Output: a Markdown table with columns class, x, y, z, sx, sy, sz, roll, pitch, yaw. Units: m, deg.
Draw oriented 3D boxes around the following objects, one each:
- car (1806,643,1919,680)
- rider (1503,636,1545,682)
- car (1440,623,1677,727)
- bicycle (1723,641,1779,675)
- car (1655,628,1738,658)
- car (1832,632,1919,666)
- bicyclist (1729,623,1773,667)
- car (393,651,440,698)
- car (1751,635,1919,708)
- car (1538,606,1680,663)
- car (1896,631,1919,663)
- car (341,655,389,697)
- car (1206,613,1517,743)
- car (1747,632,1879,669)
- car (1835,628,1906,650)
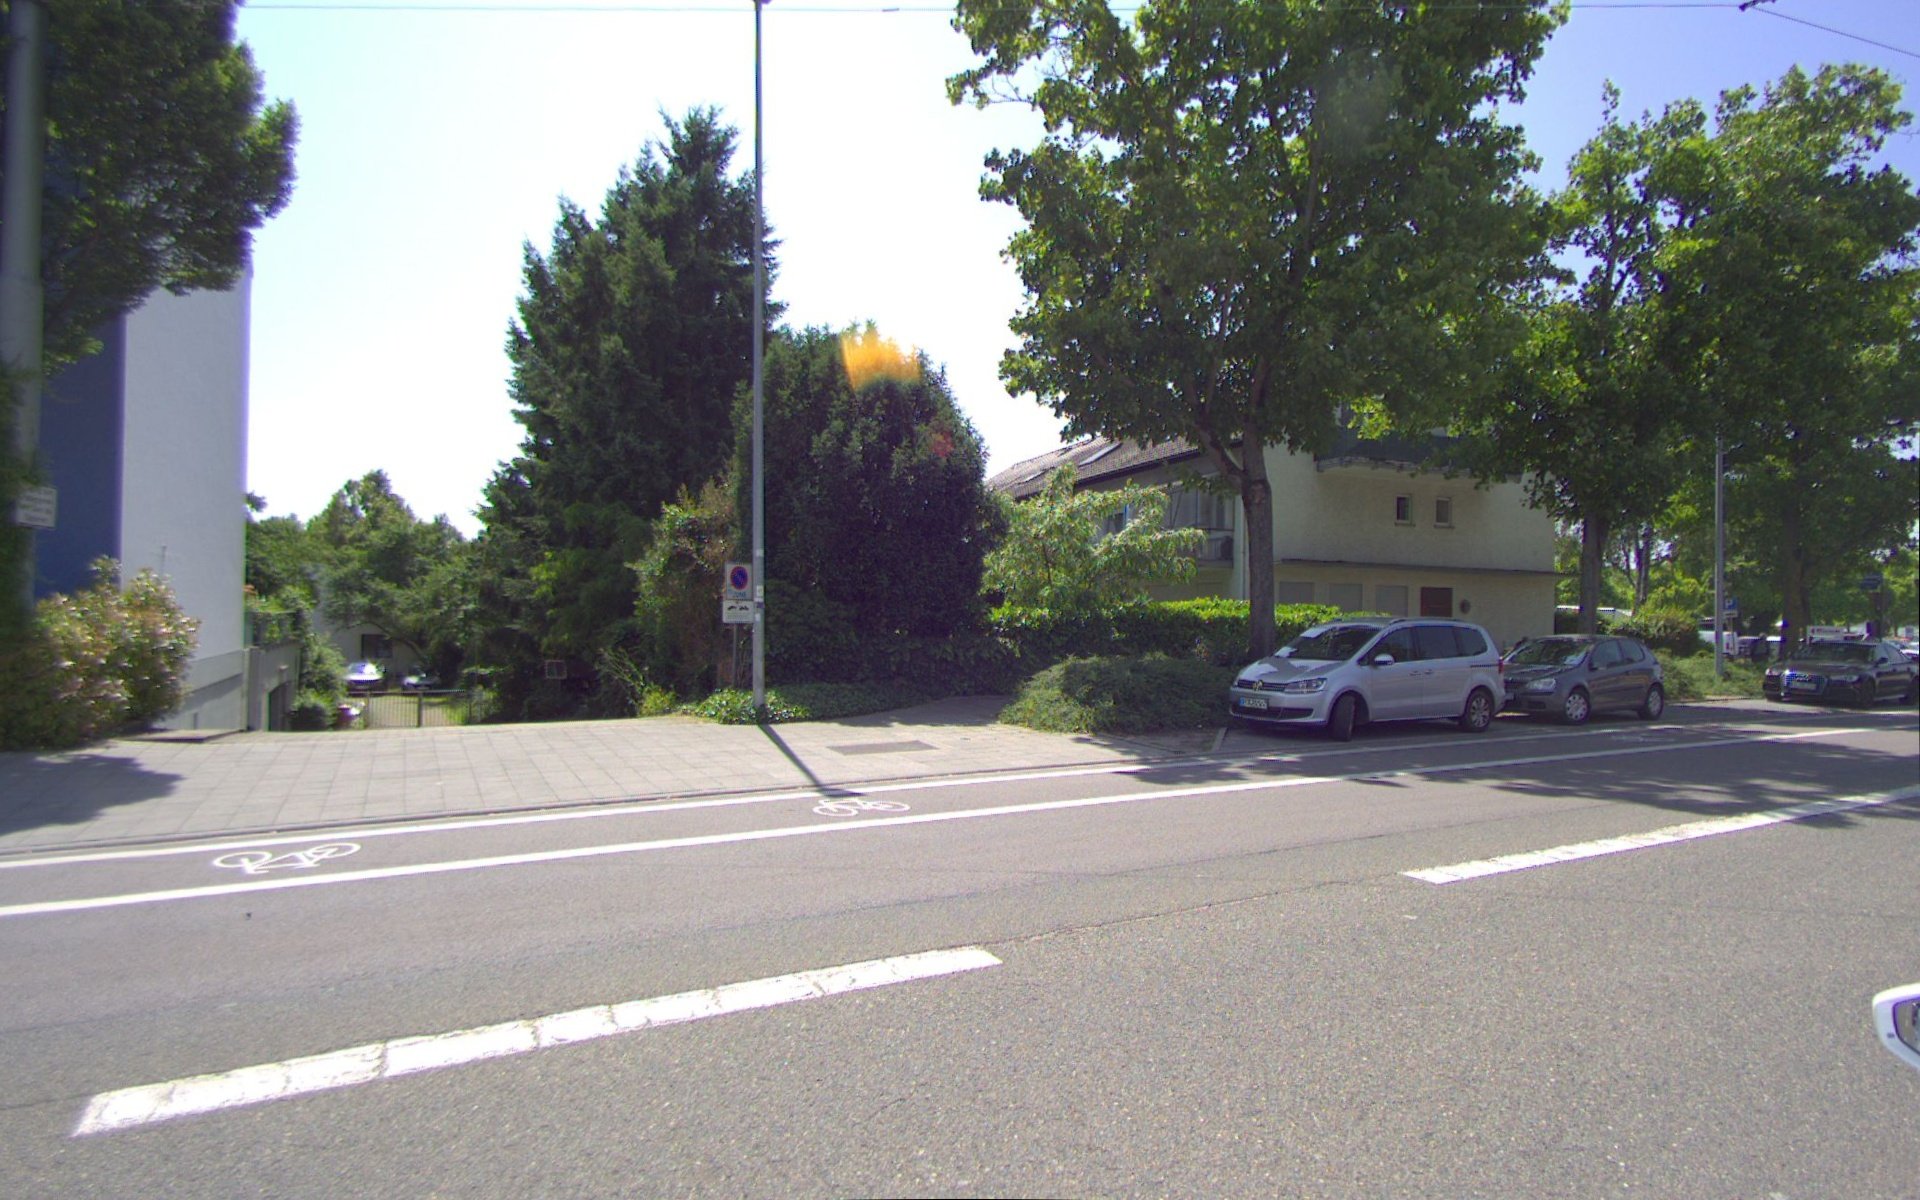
| class | x | y | z | sx | sy | sz | roll | pitch | yaw |
| --- | --- | --- | --- | --- | --- | --- | --- | --- | --- |
| car | 44.143 | 2.955 | 48.775 | 1.886 | 1.606 | 4.333 | 1 | -2 | -23 |
| rider | 17.501 | 1.819 | 31.164 | 0.800 | 1.392 | 0.824 | 1 | -1 | -21 |
| car | 10.585 | 1.247 | 17.701 | 4.132 | 1.585 | 1.810 | 1 | 0 | -30 |
| bicycle | 25.679 | 1.882 | 32.595 | 1.805 | 1.043 | 0.698 | 2 | 0 | -27 |
| car | 47.648 | 2.765 | 65.016 | 1.799 | 1.675 | 3.957 | 2 | 0 | -37 |
| car | 46.533 | 2.427 | 50.027 | 1.885 | 1.606 | 4.334 | 1 | -2 | -23 |
| bicyclist | 25.658 | 1.456 | 32.571 | 0.817 | 1.392 | 0.806 | 2 | 0 | -27 |
| car | -27.941 | 3.764 | 51.588 | 1.977 | 2.040 | 3.968 | 2 | 0 | -30 |
| car | 20.670 | 1.622 | 23.593 | 4.397 | 1.496 | 1.810 | 2 | 0 | -31 |
| car | 38.981 | 2.016 | 60.626 | 2.337 | 3.005 | 6.817 | 2 | 0 | -30 |
| car | 53.367 | 2.555 | 54.068 | 1.975 | 1.769 | 3.968 | 1 | -2 | -30 |
| car | -29.996 | 3.822 | 50.720 | 1.977 | 1.740 | 3.968 | 2 | 0 | -30 |
| car | 6.129 | 1.072 | 15.178 | 4.725 | 1.687 | 1.864 | 1 | 0 | -30 |
| car | 39.660 | 2.320 | 46.793 | 1.891 | 1.606 | 4.321 | 1 | -2 | -31 |
| car | 76.625 | 3.270 | 84.572 | 1.795 | 1.638 | 4.000 | 2 | 0 | -30 |
